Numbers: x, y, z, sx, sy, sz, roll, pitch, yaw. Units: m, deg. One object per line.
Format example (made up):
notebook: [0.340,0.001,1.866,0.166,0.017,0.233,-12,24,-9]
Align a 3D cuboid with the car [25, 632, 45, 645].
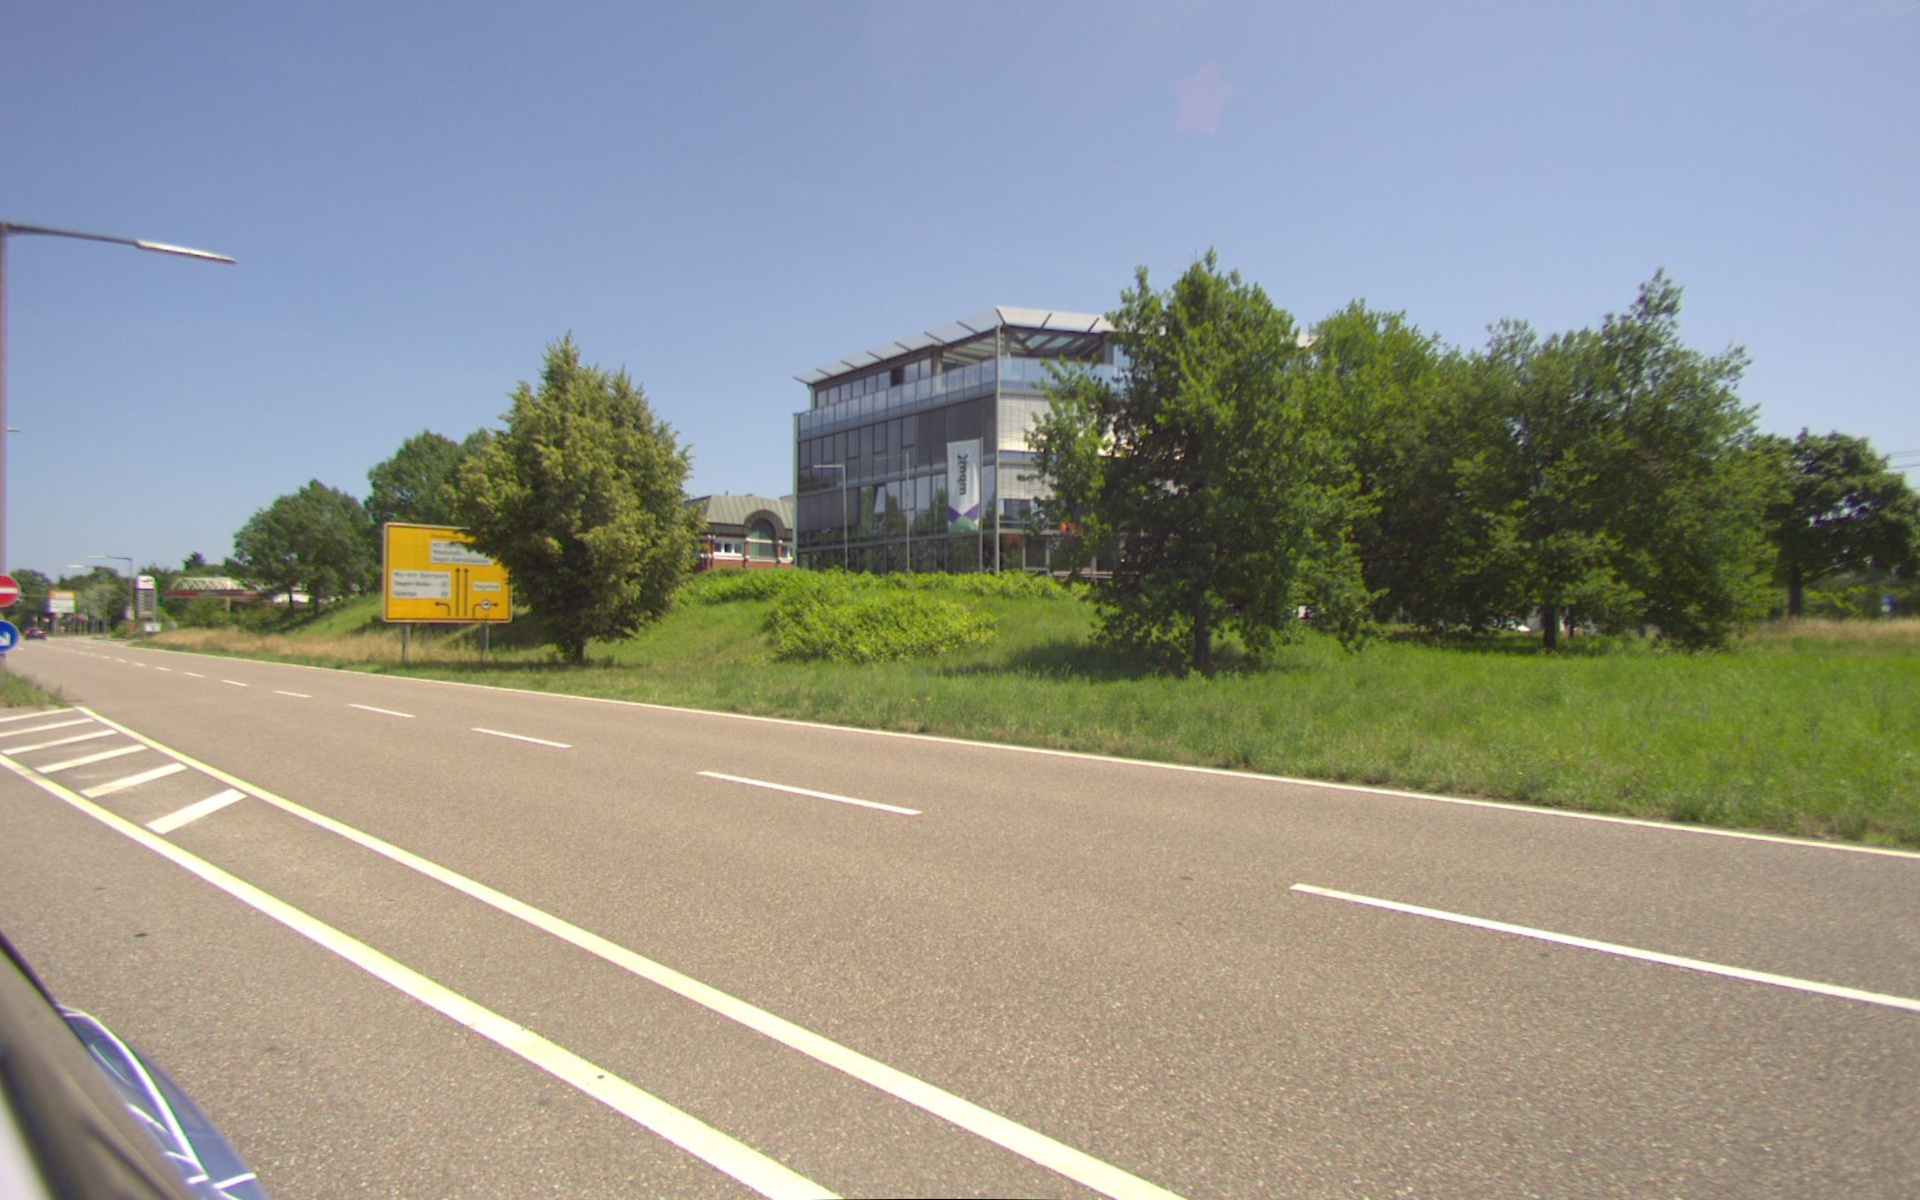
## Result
car: [-106.968,4.458,117.066,1.598,1.364,3.518,2,-2,-44]

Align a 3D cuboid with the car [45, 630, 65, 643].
car: [-123.577,4.969,138.199,3.819,1.598,1.631,0,-2,42]
